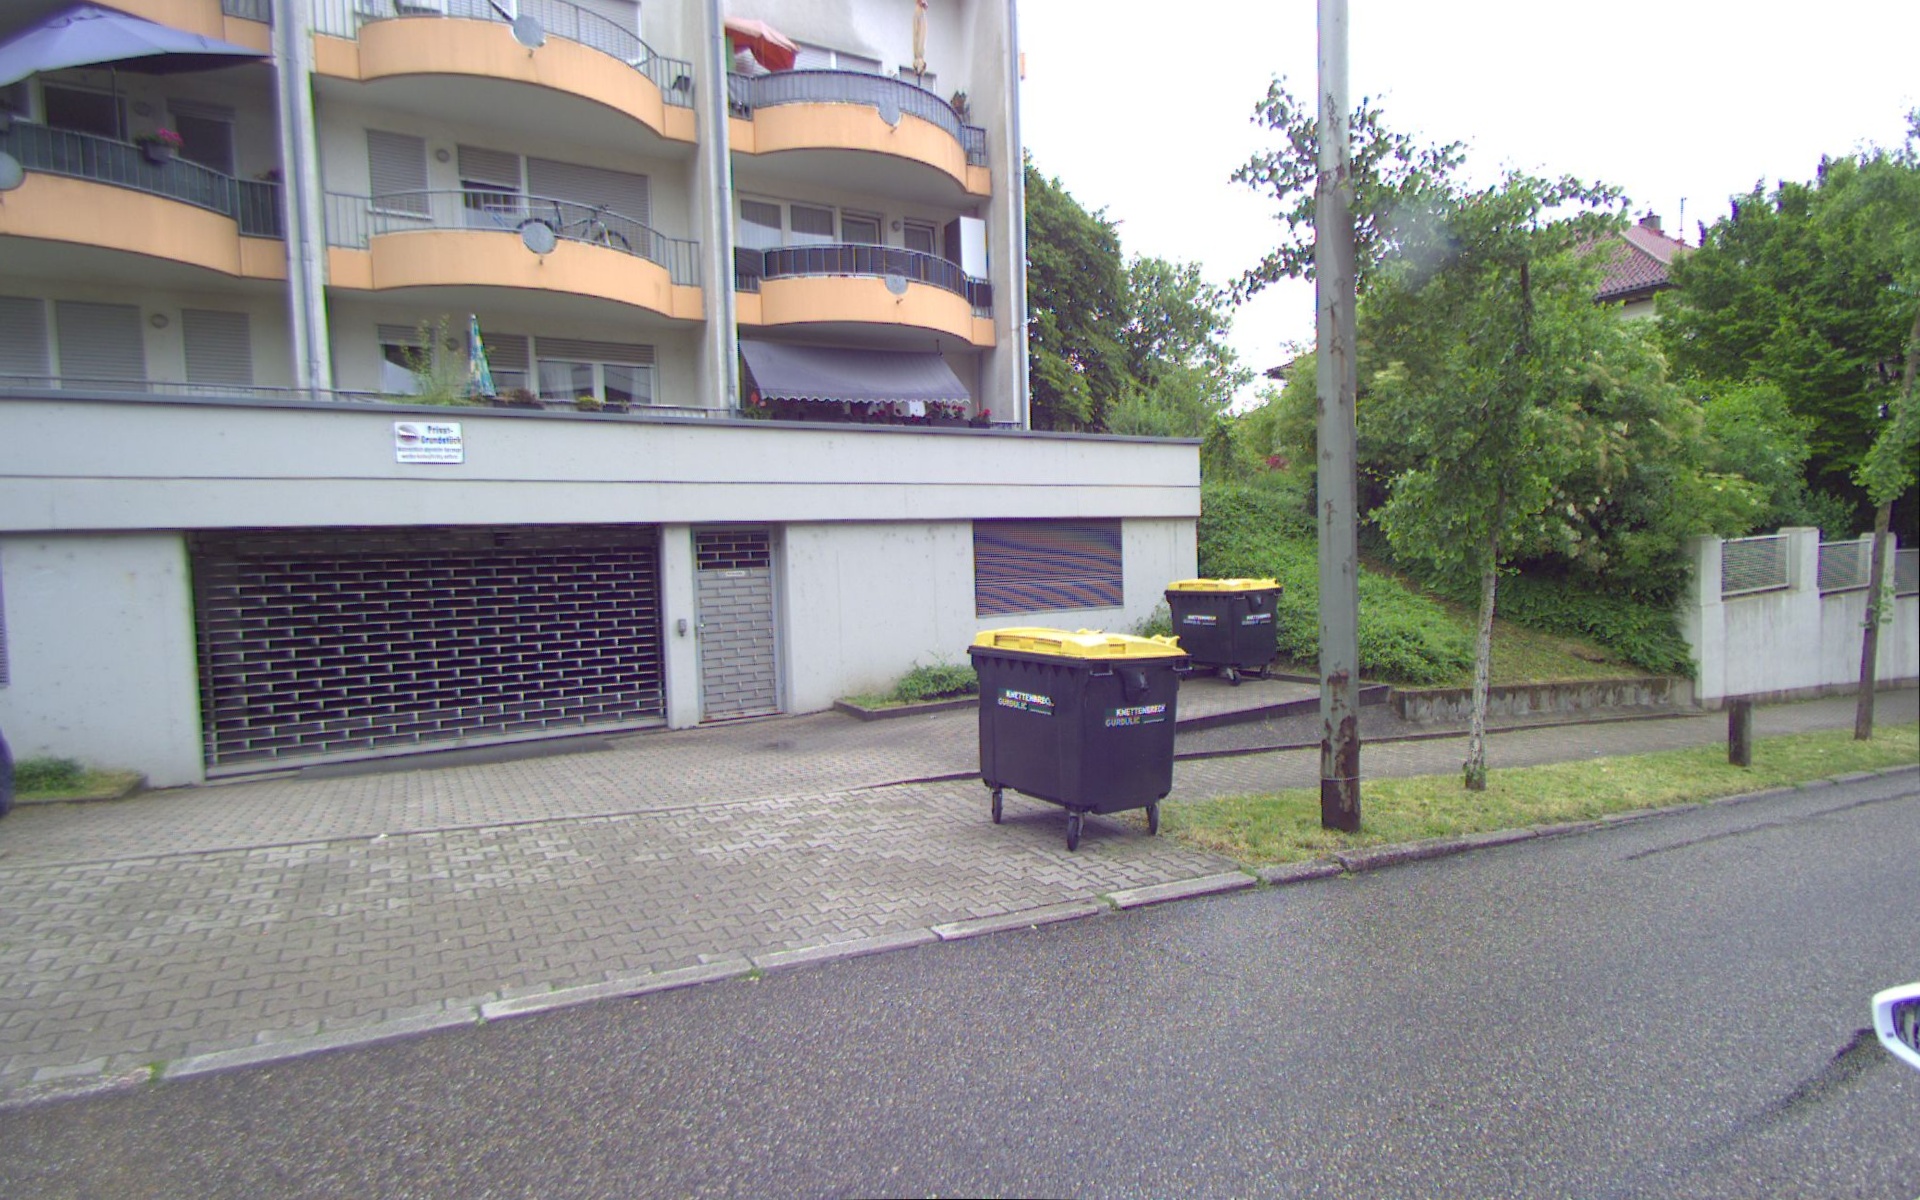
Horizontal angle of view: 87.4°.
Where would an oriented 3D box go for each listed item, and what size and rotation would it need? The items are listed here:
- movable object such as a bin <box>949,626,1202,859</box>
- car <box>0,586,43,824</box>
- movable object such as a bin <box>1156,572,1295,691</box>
[{"bbox_3d":[0.771,0.876,6.882,1.145,1.324,1.288,0,2,-38],"label":"movable object such as a bin"},{"bbox_3d":[-8.136,0.671,5.653,4.050,1.582,1.770,1,-4,-31],"label":"car"},{"bbox_3d":[3.531,0.373,13.403,1.215,1.383,1.289,-7,6,-36],"label":"movable object such as a bin"}]
